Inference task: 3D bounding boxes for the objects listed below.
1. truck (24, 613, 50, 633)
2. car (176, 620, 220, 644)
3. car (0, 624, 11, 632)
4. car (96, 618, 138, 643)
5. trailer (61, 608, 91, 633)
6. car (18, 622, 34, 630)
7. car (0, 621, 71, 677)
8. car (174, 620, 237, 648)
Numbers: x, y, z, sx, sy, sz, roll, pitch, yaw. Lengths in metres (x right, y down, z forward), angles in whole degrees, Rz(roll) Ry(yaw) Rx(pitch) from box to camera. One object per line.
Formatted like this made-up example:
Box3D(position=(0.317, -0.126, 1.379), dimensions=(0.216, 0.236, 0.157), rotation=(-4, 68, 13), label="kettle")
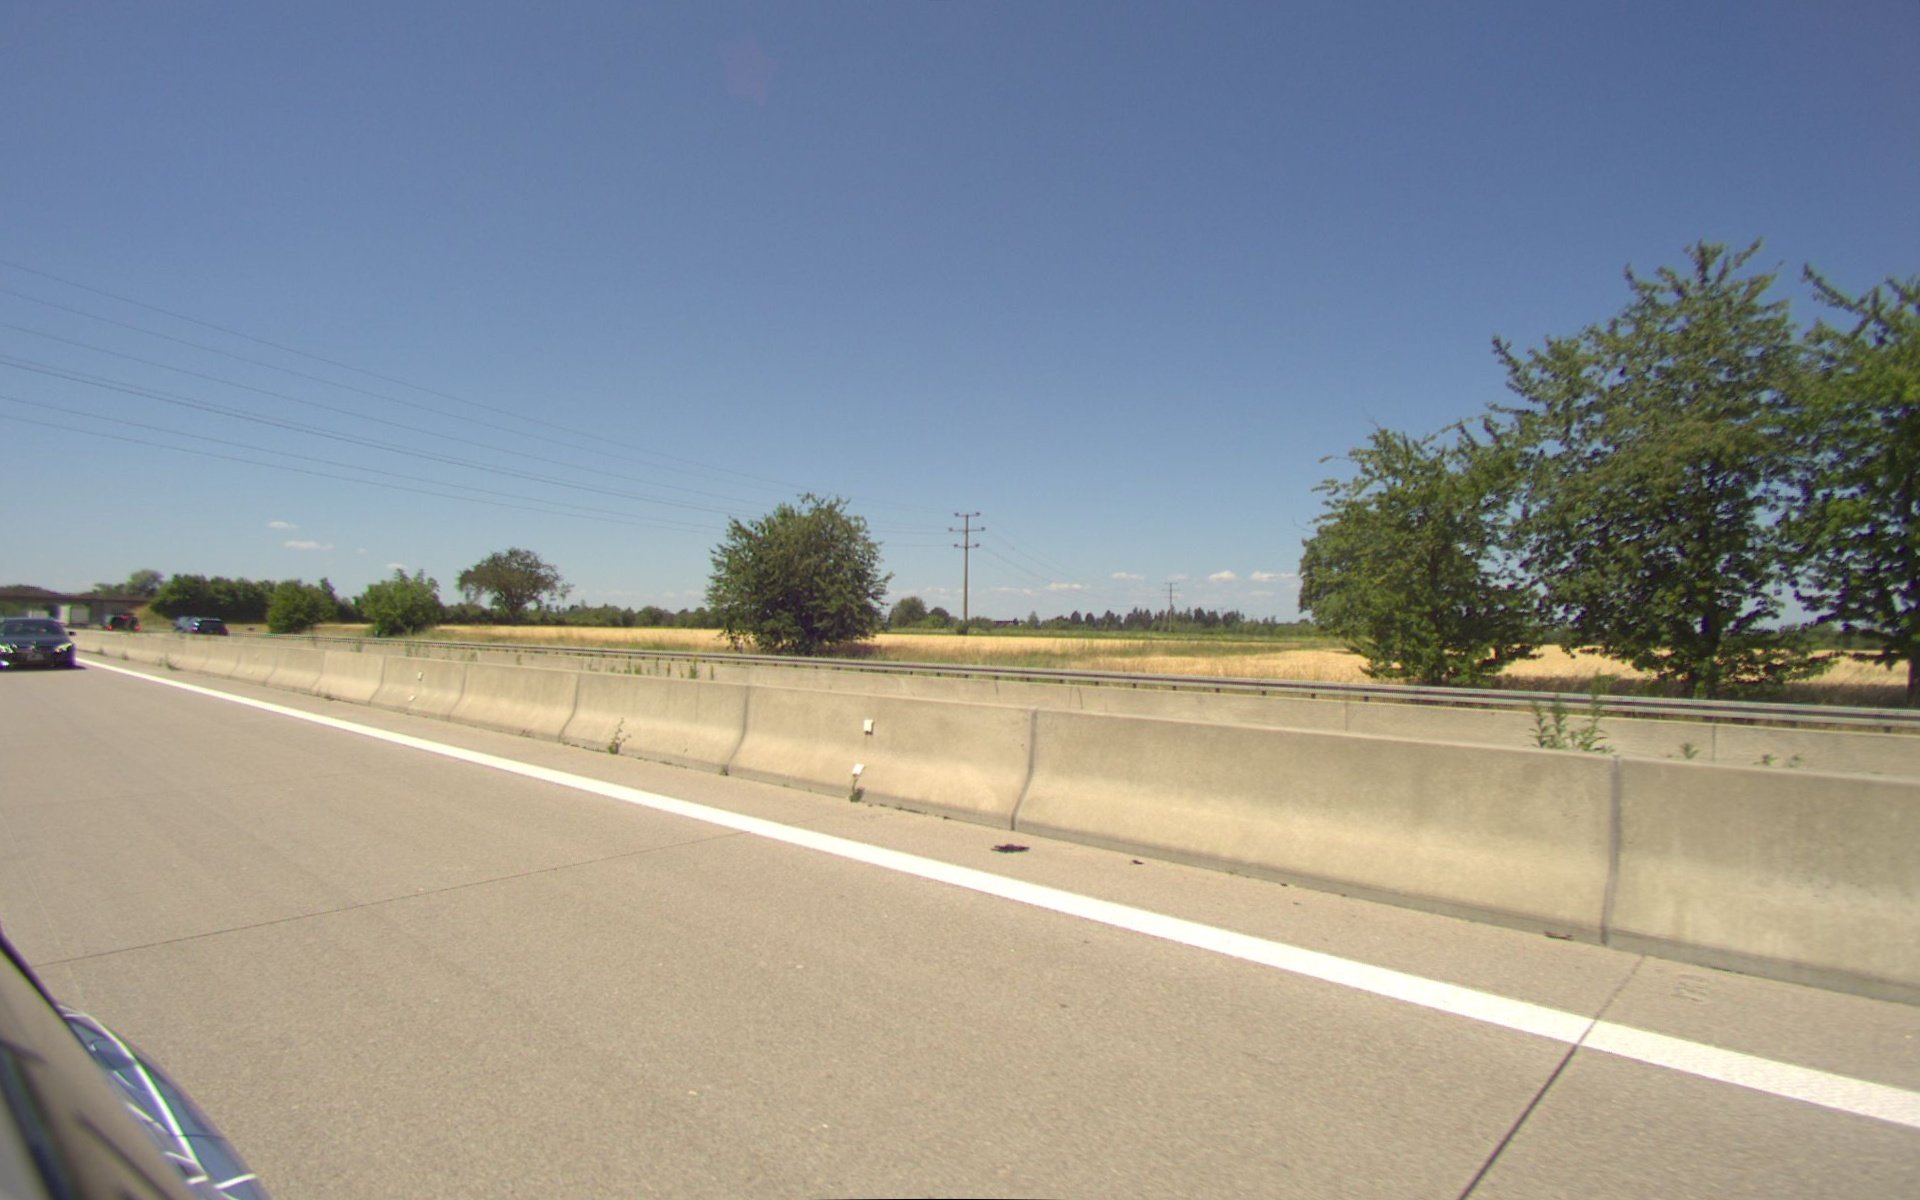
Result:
Box3D(position=(-154.280, 3.831, 169.113), dimensions=(7.924, 3.166, 2.519), rotation=(-1, -2, 43), label="truck")
Box3D(position=(-59.522, 2.466, 79.042), dimensions=(4.001, 1.803, 2.145), rotation=(-1, -1, 44), label="car")
Box3D(position=(-161.880, 4.749, 171.100), dimensions=(4.496, 1.362, 1.825), rotation=(-1, -3, 45), label="car")
Box3D(position=(-64.760, 2.328, 77.699), dimensions=(5.827, 1.840, 1.971), rotation=(-1, -1, 45), label="car")
Box3D(position=(-145.915, 3.354, 167.011), dimensions=(12.683, 4.075, 2.788), rotation=(-1, -1, 45), label="trailer")
Box3D(position=(-128.213, 3.621, 138.964), dimensions=(1.504, 1.061, 3.525), rotation=(0, -1, -45), label="car")
Box3D(position=(-27.761, 1.384, 29.671), dimensions=(6.349, 1.482, 1.971), rotation=(-1, -3, 44), label="car")
Box3D(position=(-41.088, 1.828, 55.066), dimensions=(4.682, 1.459, 1.972), rotation=(-1, -1, 43), label="car")
